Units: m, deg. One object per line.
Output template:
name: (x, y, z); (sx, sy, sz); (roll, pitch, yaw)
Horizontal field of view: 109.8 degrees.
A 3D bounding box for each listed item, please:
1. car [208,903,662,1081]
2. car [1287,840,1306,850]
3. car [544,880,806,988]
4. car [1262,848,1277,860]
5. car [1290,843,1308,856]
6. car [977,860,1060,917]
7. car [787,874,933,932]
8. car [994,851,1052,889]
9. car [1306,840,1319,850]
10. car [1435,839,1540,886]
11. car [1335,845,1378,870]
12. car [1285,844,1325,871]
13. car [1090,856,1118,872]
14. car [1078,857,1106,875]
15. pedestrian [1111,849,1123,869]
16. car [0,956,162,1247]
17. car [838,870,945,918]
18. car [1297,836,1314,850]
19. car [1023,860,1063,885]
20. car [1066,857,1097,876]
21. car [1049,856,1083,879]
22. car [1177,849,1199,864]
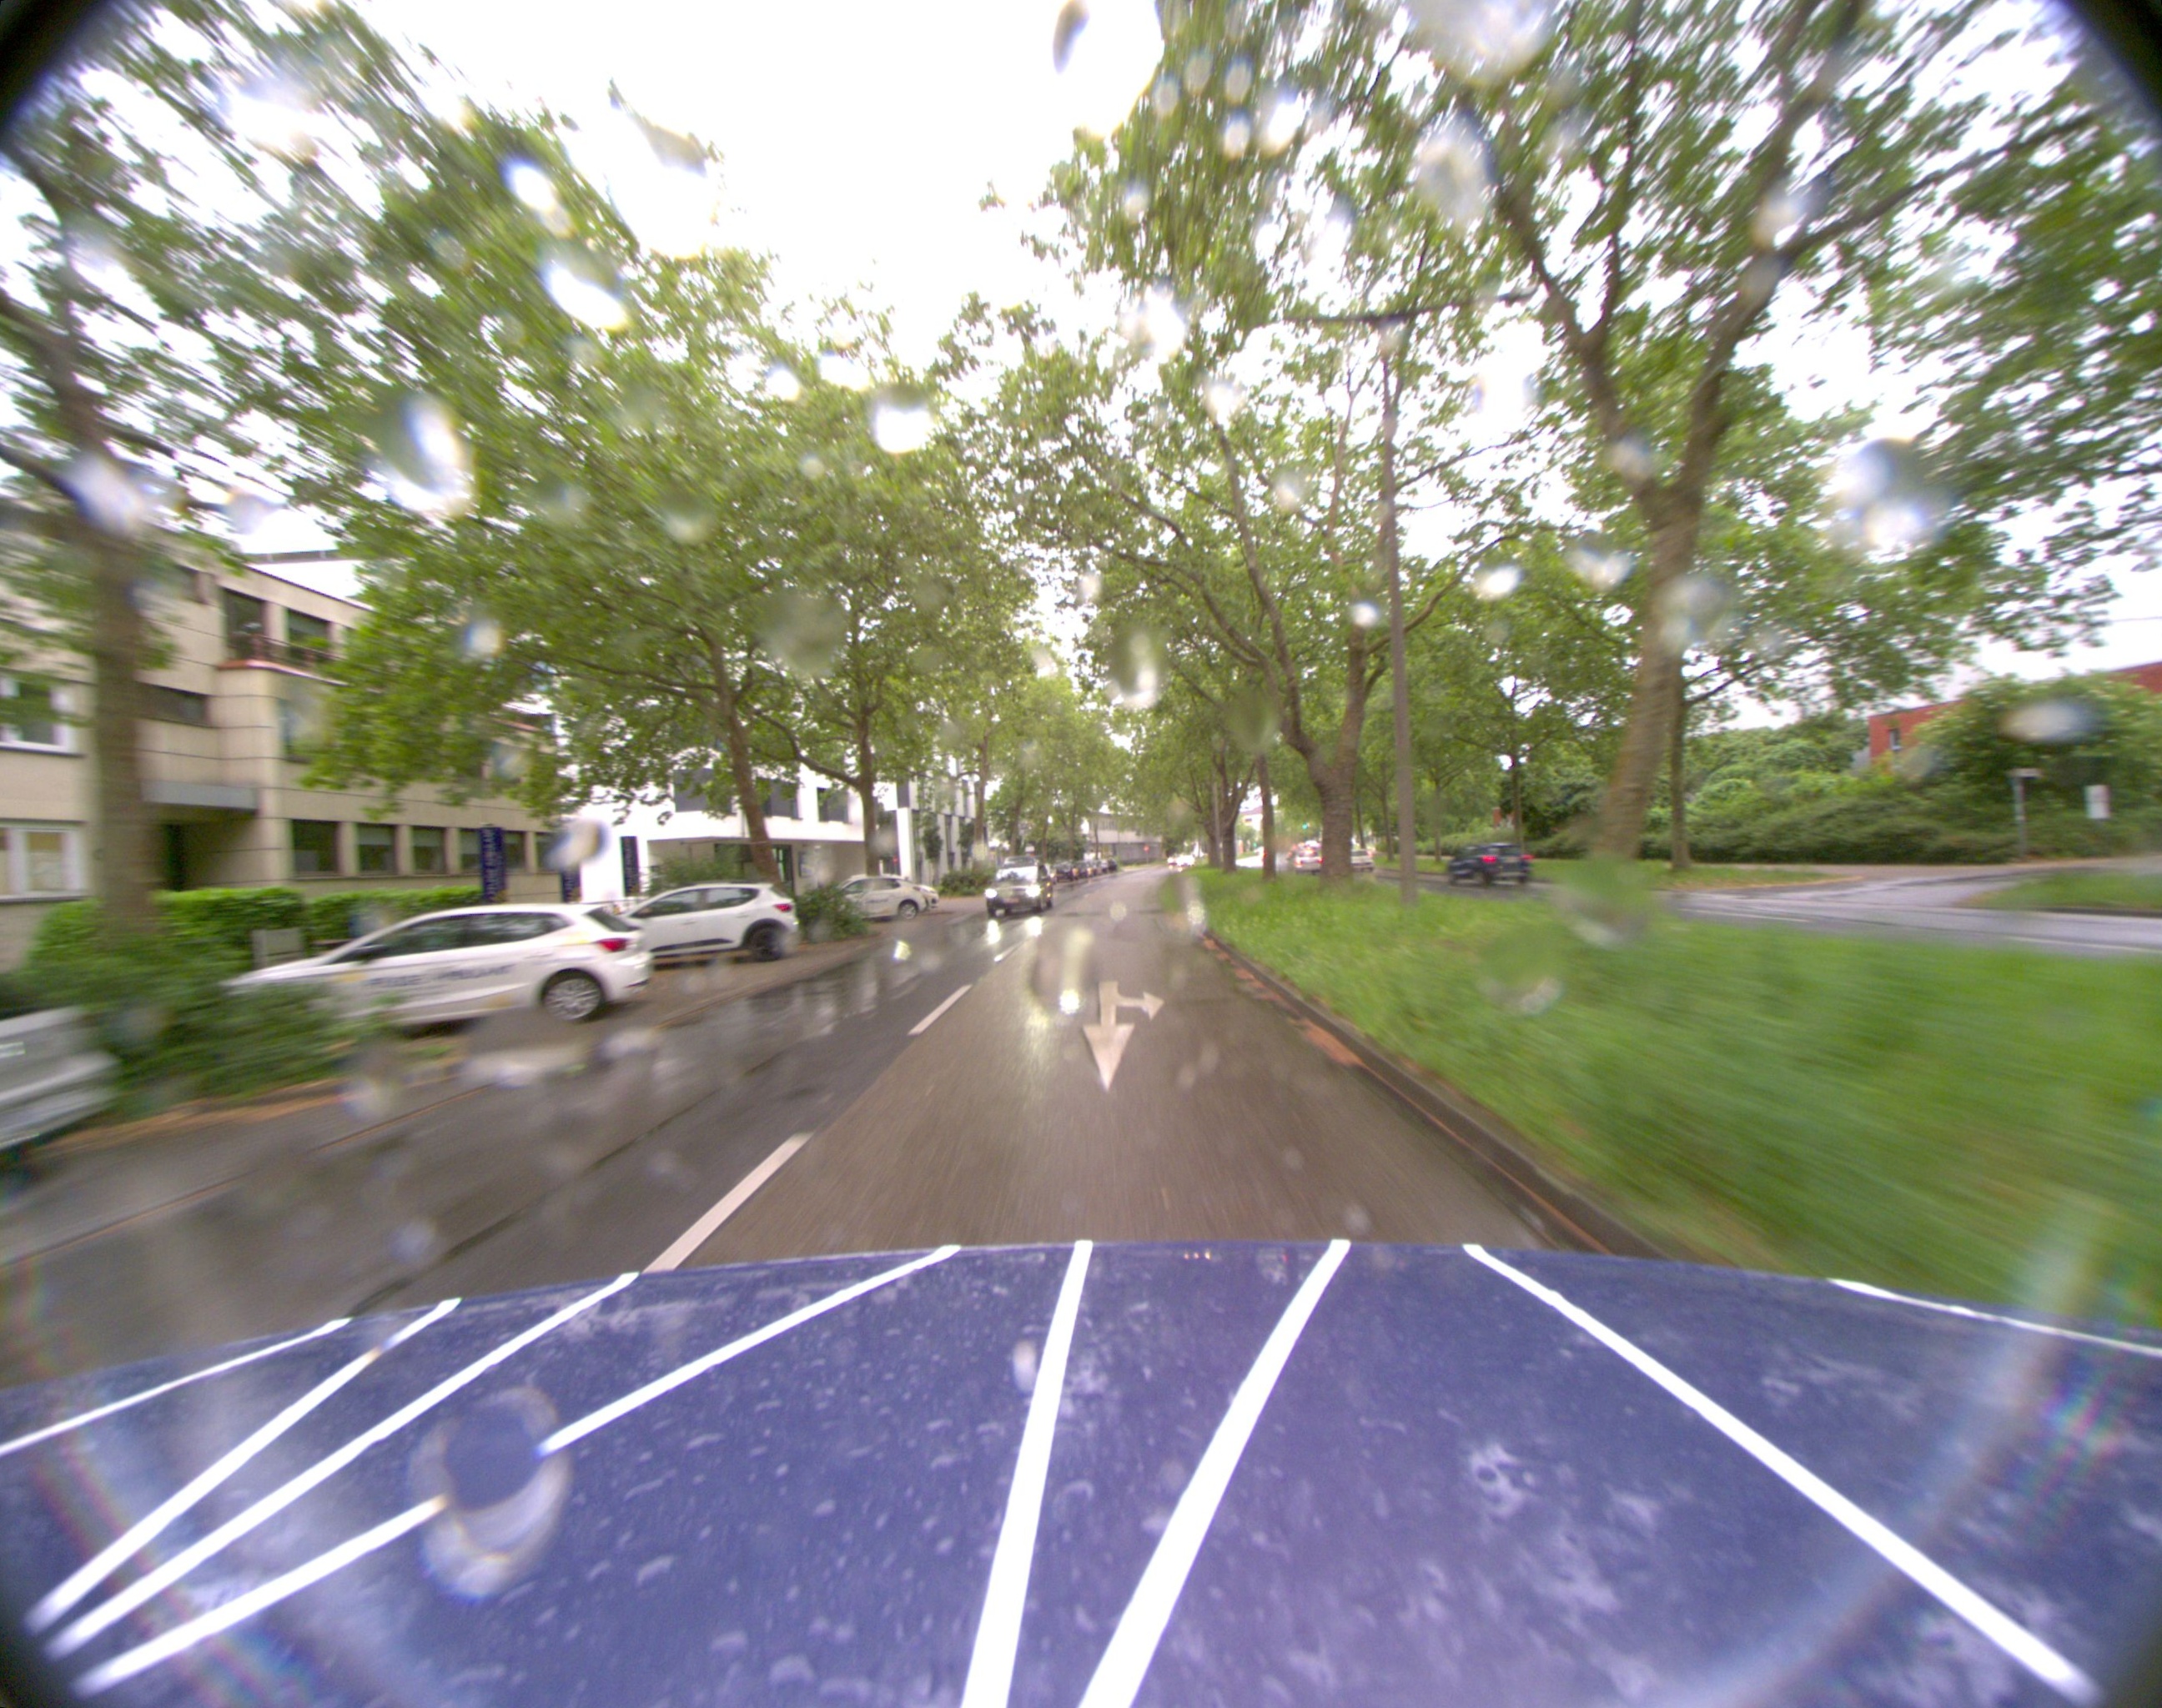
car: (-7.235, 1.470, 9.048); (3.696, 1.408, 1.746); (-3, 0, -23)
car: (41.871, -1.779, 147.752); (2.031, 1.726, 4.963); (-3, 0, 33)
car: (-7.494, 1.385, 14.347); (4.043, 1.530, 1.745); (-3, 0, -28)
car: (24.872, -0.018, 100.497); (1.746, 1.467, 4.414); (-3, 0, 13)
car: (25.508, -0.551, 88.761); (1.745, 1.451, 3.846); (-3, 0, 18)
car: (-2.052, 1.116, 26.657); (1.998, 1.585, 5.591); (-4, 0, 4)
car: (-6.831, 1.460, 23.558); (4.043, 1.420, 1.745); (-3, 0, -26)
car: (-3.320, 0.876, 45.081); (2.125, 2.016, 5.531); (-3, 0, 9)
car: (42.879, -1.601, 140.776); (1.996, 1.622, 4.337); (-4, 0, 21)
car: (15.650, 0.299, 29.517); (1.748, 1.582, 4.209); (-3, 0, 0)
car: (18.190, 0.212, 50.330); (1.747, 1.467, 4.084); (-3, 0, 7)
car: (14.350, 0.193, 48.817); (1.747, 1.582, 4.332); (-3, 0, 7)
car: (2.356, 0.977, 77.108); (1.746, 1.420, 4.864); (-1, 1, 14)
car: (1.050, 1.076, 70.678); (1.746, 1.420, 5.107); (-3, 0, 11)
pedestrian: (3.724, 0.494, 78.415); (0.901, 2.002, 0.832); (-3, 1, -25)
car: (-7.598, 1.477, 3.578); (3.697, 1.408, 1.772); (-3, 0, -27)
car: (-6.923, 1.446, 28.051); (3.647, 1.495, 1.748); (-3, -1, -10)
car: (39.858, -1.983, 134.954); (2.032, 2.213, 5.442); (-3, 0, 25)
car: (-2.510, 1.222, 51.242); (1.746, 1.460, 4.308); (-3, 0, 9)
car: (0.108, 1.036, 64.532); (1.746, 1.467, 4.086); (-3, 0, 12)
car: (-1.123, 1.011, 57.711); (1.746, 1.557, 4.374); (-3, 0, 9)
car: (13.178, 0.285, 93.078); (1.996, 1.620, 4.526); (-4, 0, 16)
